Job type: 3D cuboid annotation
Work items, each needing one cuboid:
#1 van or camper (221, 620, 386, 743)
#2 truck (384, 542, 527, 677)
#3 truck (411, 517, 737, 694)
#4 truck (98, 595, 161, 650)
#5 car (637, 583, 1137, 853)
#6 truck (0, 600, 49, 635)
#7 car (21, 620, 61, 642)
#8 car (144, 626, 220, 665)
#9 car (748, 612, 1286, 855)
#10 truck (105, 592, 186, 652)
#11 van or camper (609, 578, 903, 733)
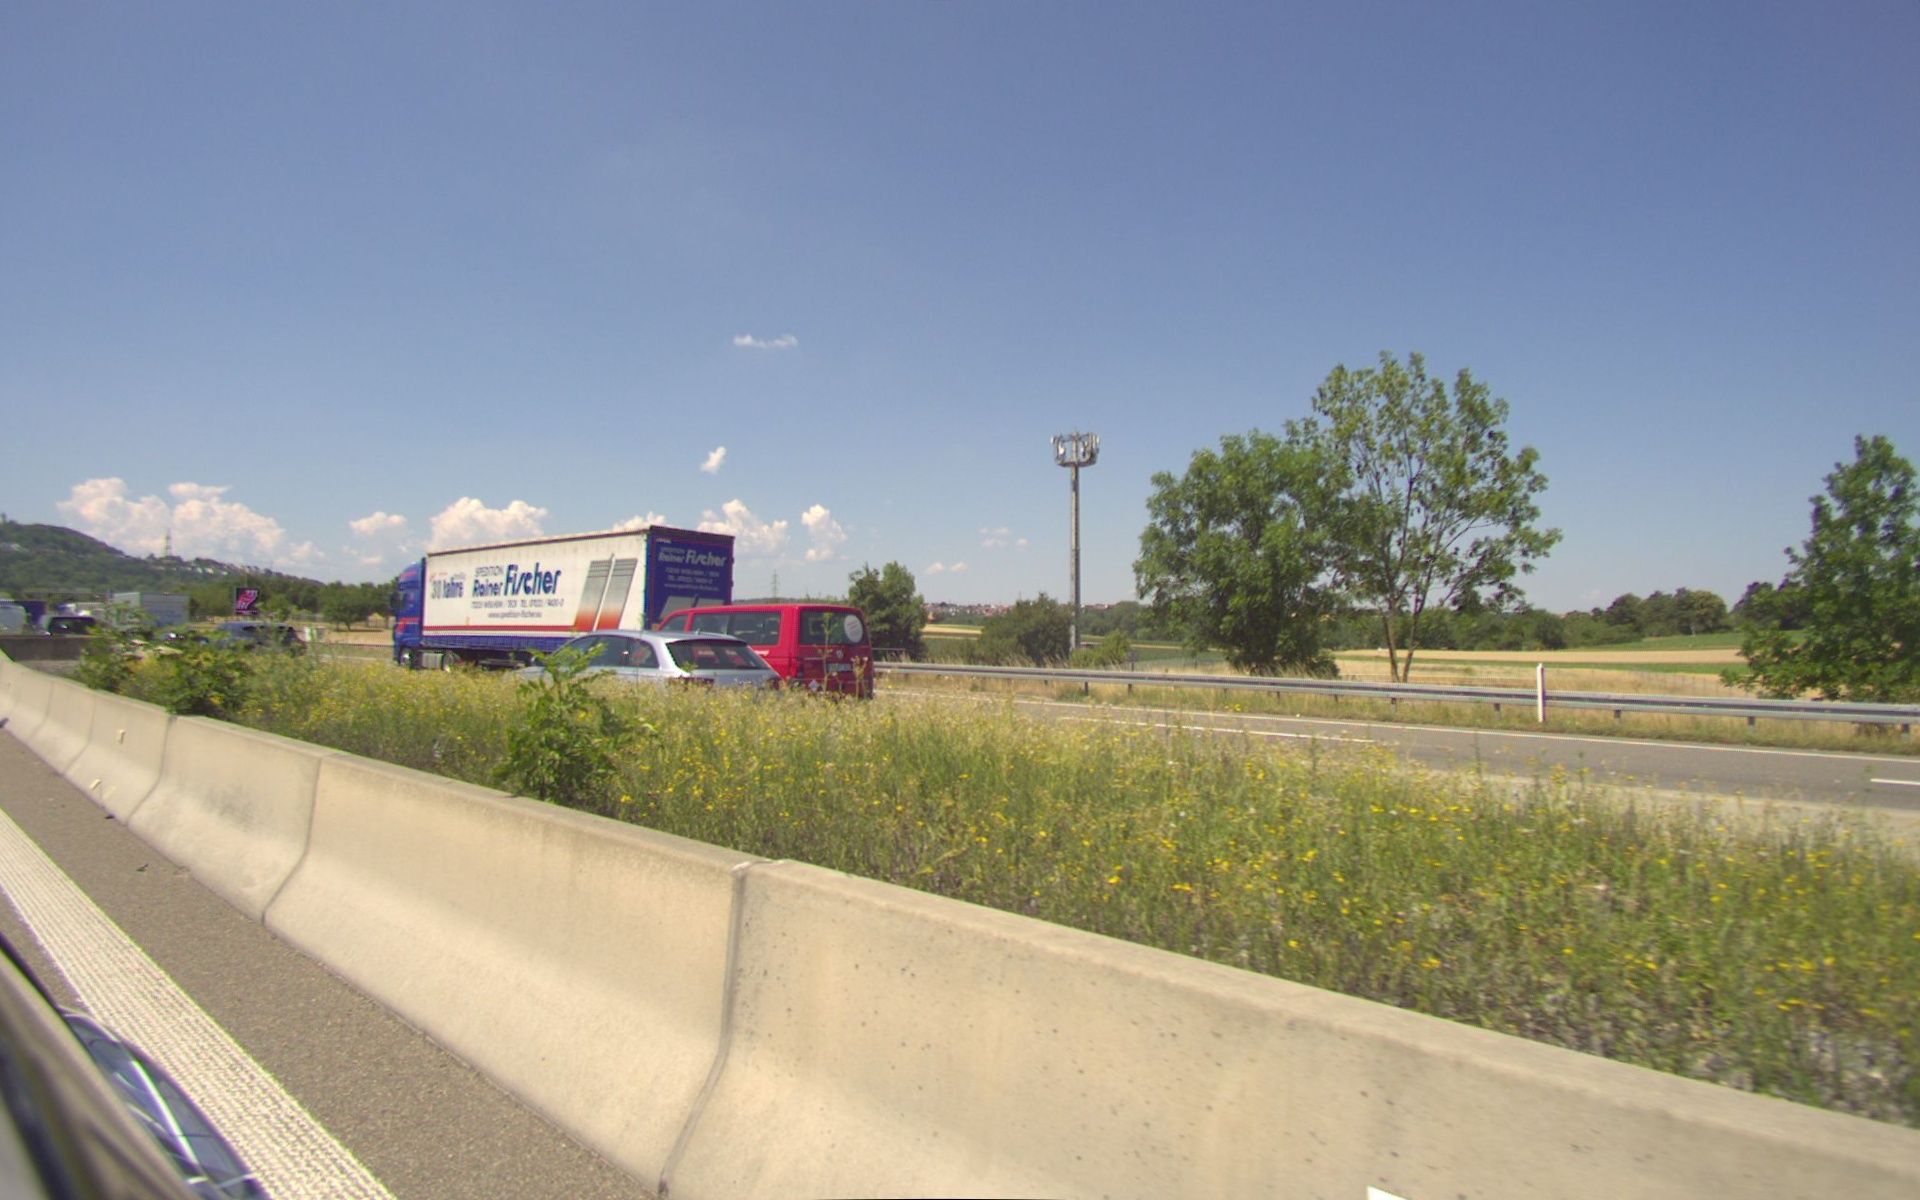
[{"bbox_3d":[-15.732,1.814,24.180,4.394,2.649,2.126,-1,-2,41],"label":"van or camper"},{"bbox_3d":[-17.349,0.404,34.717,4.851,4.271,2.565,-1,-4,41],"label":"truck"},{"bbox_3d":[-12.041,0.295,30.078,14.115,4.271,2.565,-1,-4,41],"label":"truck"},{"bbox_3d":[-57.003,1.578,69.442,3.999,3.615,2.669,-1,-3,42],"label":"truck"},{"bbox_3d":[-0.895,0.910,9.706,4.792,1.961,1.973,-1,-2,41],"label":"car"},{"bbox_3d":[-100.468,1.954,108.431,9.987,3.636,2.945,-2,-2,41],"label":"truck"},{"bbox_3d":[-64.267,2.178,70.755,3.834,1.453,1.543,-1,-4,40],"label":"car"},{"bbox_3d":[-35.209,2.037,45.783,4.092,1.667,1.869,-1,-2,40],"label":"car"},{"bbox_3d":[0.266,0.928,8.715,4.559,1.578,1.667,-1,-2,41],"label":"car"},{"bbox_3d":[-53.002,1.471,65.794,8.785,3.648,2.670,-1,-3,42],"label":"truck"},{"bbox_3d":[-3.675,0.891,17.583,5.490,2.291,2.072,-1,-2,40],"label":"van or camper"}]
